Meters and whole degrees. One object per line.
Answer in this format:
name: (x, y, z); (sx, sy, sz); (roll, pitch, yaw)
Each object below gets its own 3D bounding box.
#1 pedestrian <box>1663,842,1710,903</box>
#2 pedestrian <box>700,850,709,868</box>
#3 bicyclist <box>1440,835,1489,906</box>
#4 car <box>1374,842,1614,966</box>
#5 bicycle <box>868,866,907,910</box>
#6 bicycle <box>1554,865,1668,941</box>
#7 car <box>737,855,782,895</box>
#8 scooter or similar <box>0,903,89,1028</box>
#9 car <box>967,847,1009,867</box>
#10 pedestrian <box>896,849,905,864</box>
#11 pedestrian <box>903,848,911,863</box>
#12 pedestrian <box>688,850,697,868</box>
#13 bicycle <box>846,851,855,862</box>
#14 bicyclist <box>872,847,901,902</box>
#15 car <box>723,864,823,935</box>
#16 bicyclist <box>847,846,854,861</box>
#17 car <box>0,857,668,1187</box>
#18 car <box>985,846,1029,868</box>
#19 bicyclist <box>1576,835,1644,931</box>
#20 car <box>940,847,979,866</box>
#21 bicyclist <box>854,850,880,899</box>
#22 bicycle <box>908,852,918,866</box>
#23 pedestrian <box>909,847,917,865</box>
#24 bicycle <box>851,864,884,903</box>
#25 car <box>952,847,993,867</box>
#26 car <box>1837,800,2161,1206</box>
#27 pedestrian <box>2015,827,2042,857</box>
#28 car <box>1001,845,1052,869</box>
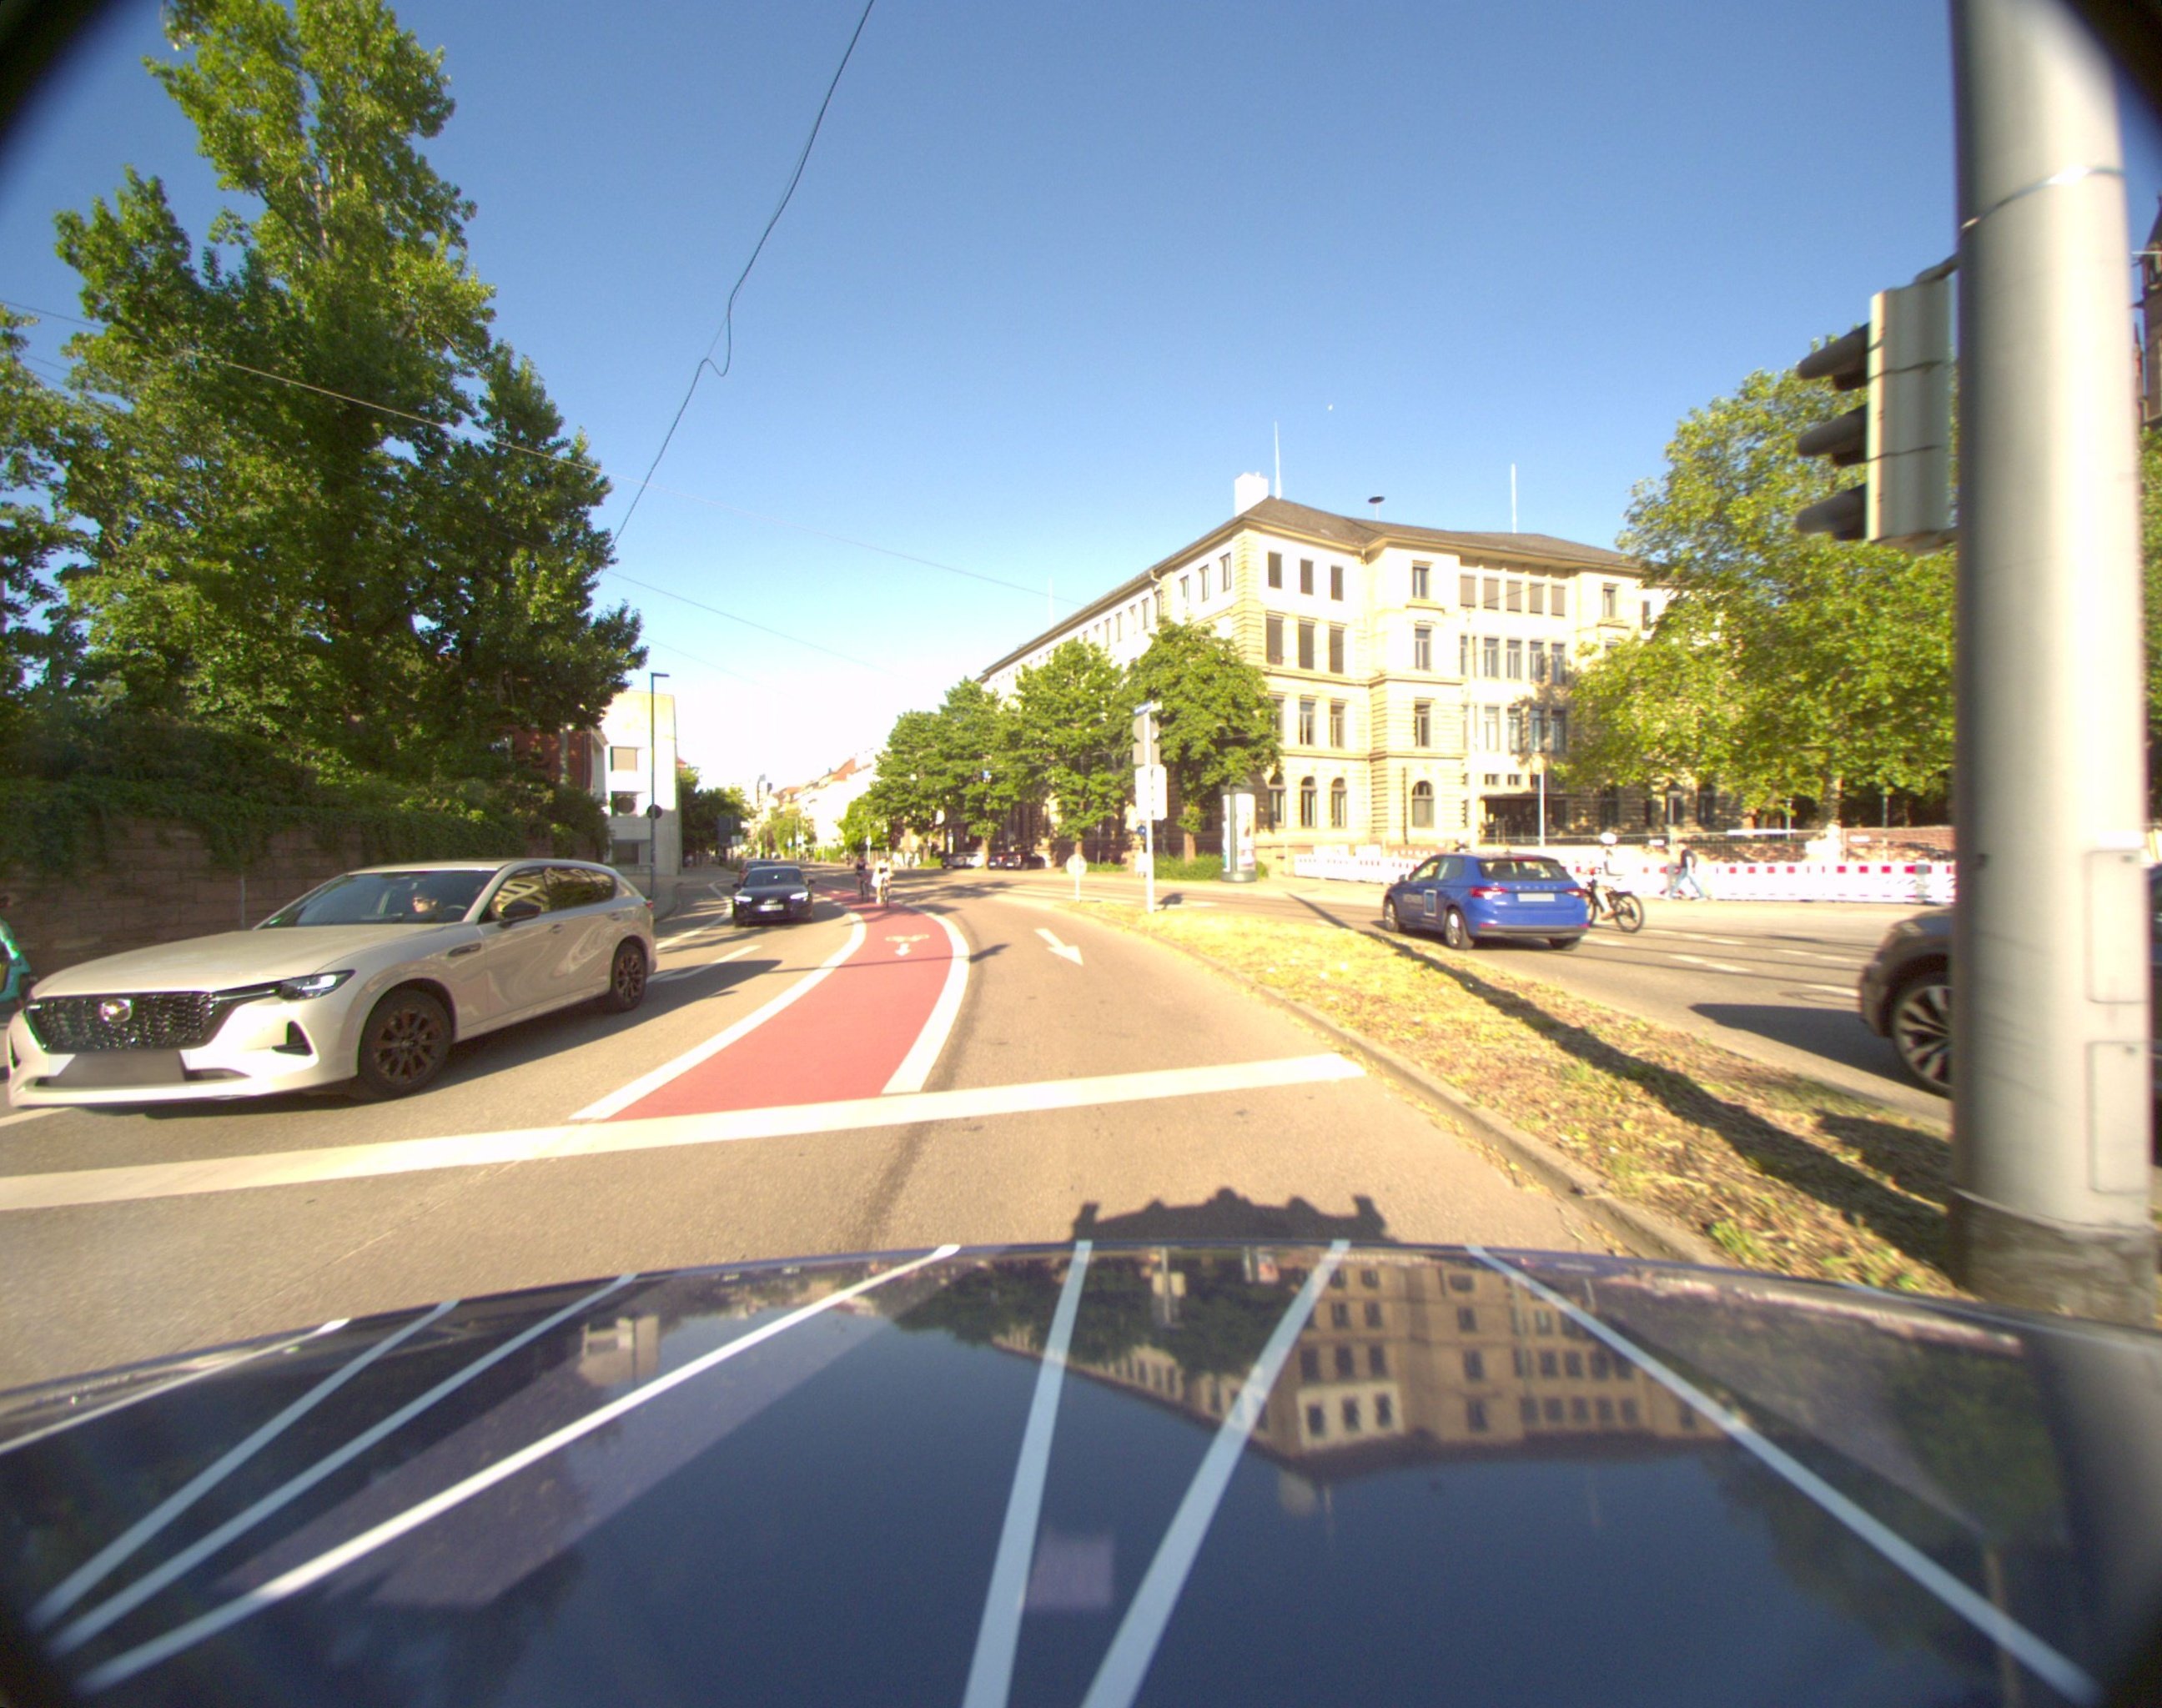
pedestrian: (17.491, 0.514, 21.951); (0.712, 1.687, 0.898); (-1, 3, -43)
pedestrian: (-35.160, 0.487, 70.942); (0.676, 1.638, 0.816); (-2, 1, -26)
bicyclist: (9.245, 0.379, 18.344); (0.710, 1.648, 0.901); (2, 1, 6)
car: (6.289, 0.637, 12.152); (1.741, 1.565, 3.923); (2, 2, 2)
bicycle: (-5.997, 1.017, 23.483); (0.677, 1.243, 2.451); (-1, 1, -26)
bicycle: (9.329, 0.817, 13.498); (0.675, 1.174, 2.184); (-1, 1, 6)
car: (-14.136, 0.858, 33.400); (1.652, 1.552, 3.643); (-3, 2, -23)
scooter or similar: (-11.647, 1.195, 7.932); (0.575, 1.262, 1.425); (0, 1, 15)
car: (-8.099, 0.246, 66.364); (1.646, 1.552, 3.656); (-2, 2, 30)
pedestrian: (-19.670, 0.258, 82.732); (0.676, 1.638, 0.816); (-2, 1, -26)
pedestrian: (-19.049, 0.141, 83.062); (0.676, 1.638, 0.816); (-2, 1, -26)
pedestrian: (-36.086, 0.482, 70.500); (0.676, 1.638, 0.816); (-2, 1, -26)
bicycle: (-26.918, 0.251, 88.764); (0.677, 1.243, 2.451); (-1, 1, -26)
bicyclist: (-6.020, 0.617, 23.502); (0.676, 1.638, 1.027); (-1, 1, -26)
car: (-7.688, 1.057, 19.297); (1.790, 1.425, 3.994); (-3, 1, -15)
bicyclist: (-26.895, -0.071, 88.716); (0.676, 1.638, 1.027); (-1, 1, -26)
car: (-5.721, 0.966, 6.545); (1.946, 1.683, 4.529); (-3, 1, -3)
car: (-5.886, 0.234, 61.077); (1.646, 1.552, 3.656); (-2, 2, 30)
bicyclist: (9.323, 0.497, 13.423); (0.710, 1.648, 0.743); (-1, 1, 6)
car: (-11.366, 0.243, 71.244); (1.646, 1.552, 3.656); (-2, 2, 30)
bicyclist: (-7.368, 0.685, 26.129); (0.676, 1.638, 1.027); (-1, 1, -26)
bicycle: (-15.327, 0.458, 69.342); (0.677, 1.243, 2.453); (-2, 1, -18)
pedestrian: (-15.332, 0.186, 69.324); (0.676, 1.638, 0.816); (-2, 1, -17)
bicycle: (-7.384, 0.983, 26.181); (0.677, 1.243, 2.451); (-1, 1, -26)
car: (-9.701, 0.260, 68.197); (1.646, 1.552, 3.656); (-2, 2, 30)
car: (5.299, 0.640, 2.358); (1.765, 1.696, 4.532); (1, 1, 7)
pedestrian: (52.545, -0.669, 42.133); (0.637, 1.638, 0.675); (-1, 1, -4)
car: (-4.170, 0.237, 58.830); (1.841, 1.622, 4.188); (-2, 2, 30)
